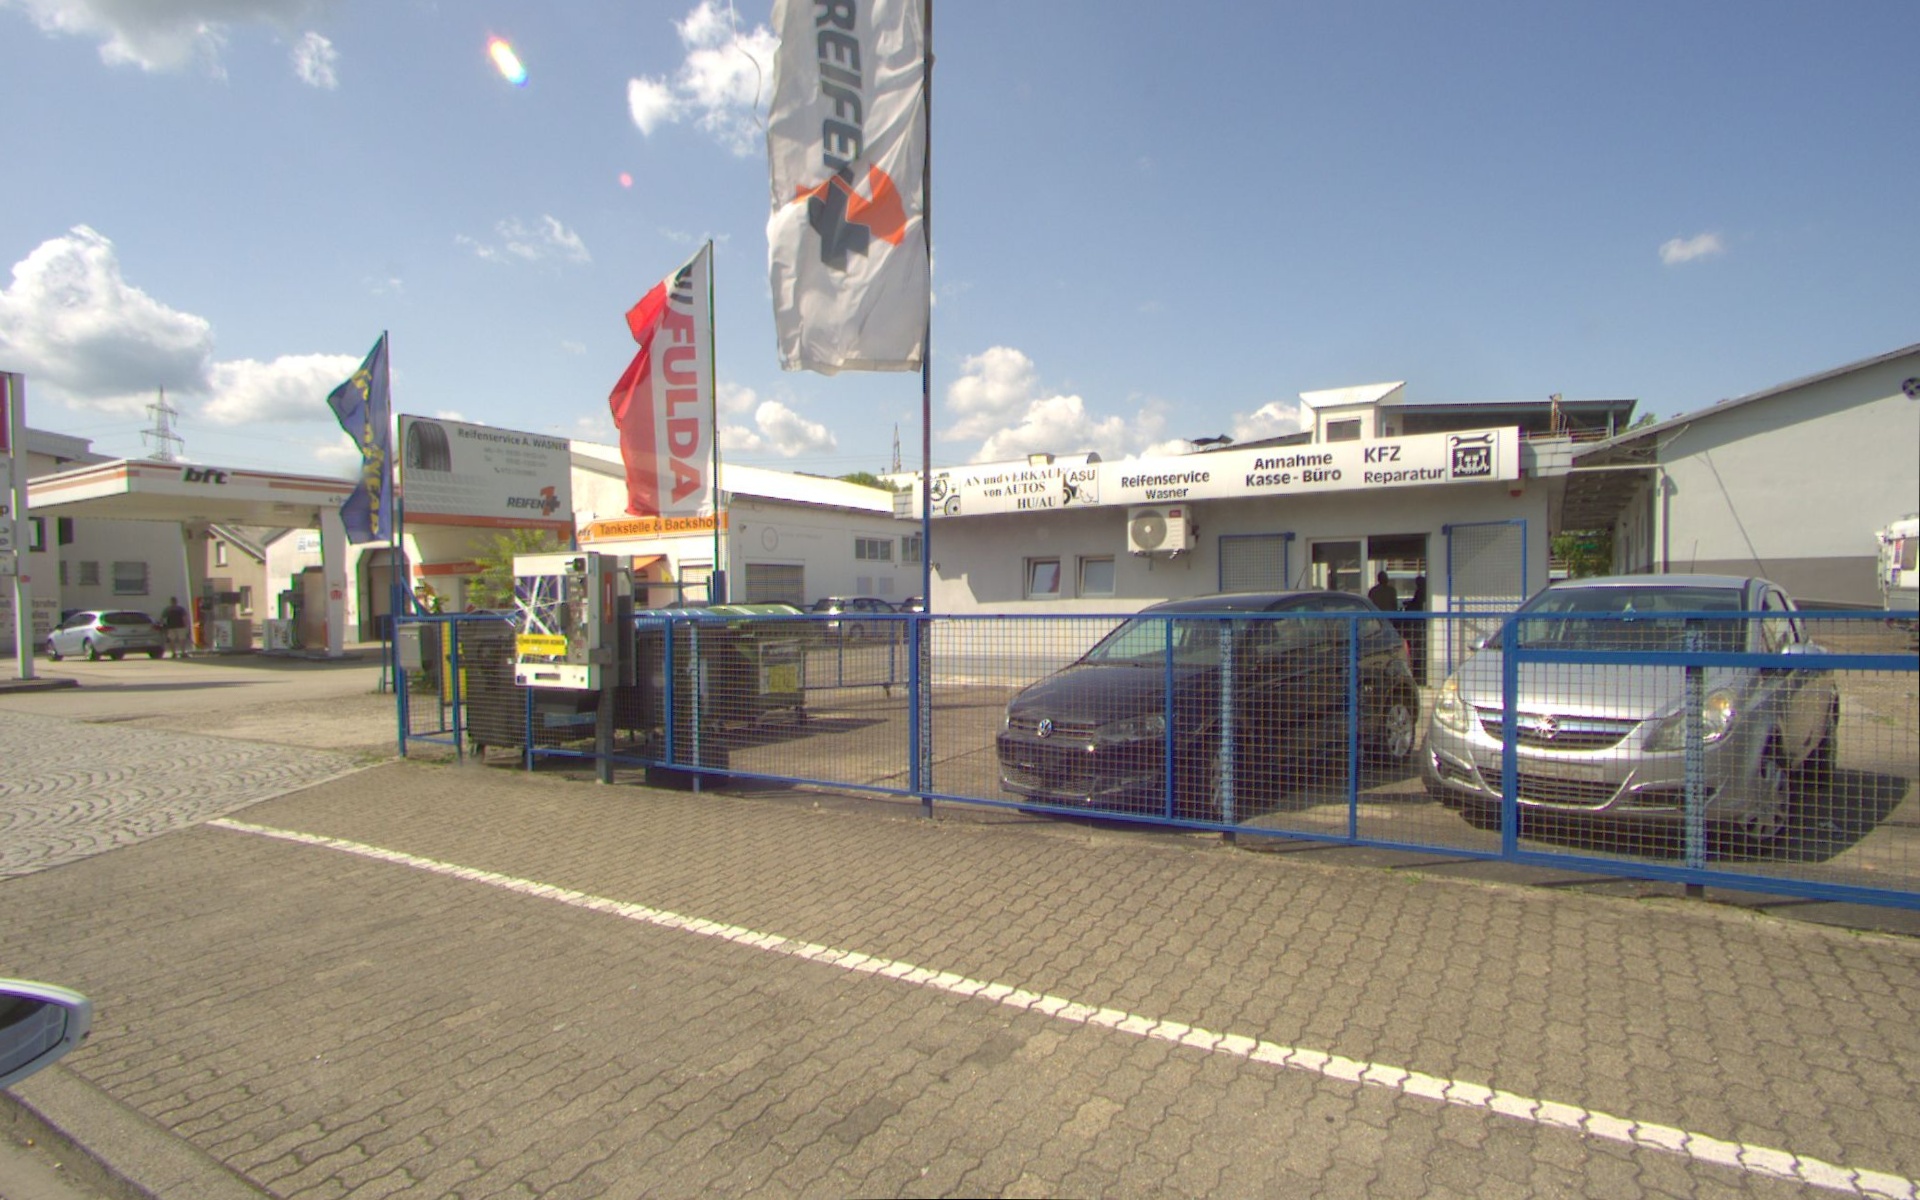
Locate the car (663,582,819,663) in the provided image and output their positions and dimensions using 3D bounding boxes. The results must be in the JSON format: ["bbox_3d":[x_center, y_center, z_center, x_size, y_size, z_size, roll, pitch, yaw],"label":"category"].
[{"bbox_3d":[-5.953,0.570,27.640,1.971,2.040,3.979,0,0,32],"label":"car"}]

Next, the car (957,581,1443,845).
[{"bbox_3d":[2.009,0.627,7.652,3.962,1.499,1.705,-1,1,-43],"label":"car"}]

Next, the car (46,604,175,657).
[{"bbox_3d":[-25.839,0.888,30.438,3.950,1.499,1.829,-1,1,31],"label":"car"}]

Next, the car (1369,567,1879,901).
[{"bbox_3d":[4.497,0.587,6.515,4.104,1.499,1.787,-1,0,-42],"label":"car"}]

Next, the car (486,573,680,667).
[{"bbox_3d":[-8.919,0.434,23.986,1.971,2.040,3.979,0,0,32],"label":"car"}]

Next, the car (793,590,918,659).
[{"bbox_3d":[-3.269,0.726,31.991,1.971,2.040,3.979,0,0,32],"label":"car"}]

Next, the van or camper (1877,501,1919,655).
[{"bbox_3d":[21.342,-0.459,19.325,4.983,3.002,2.276,0,1,31],"label":"van or camper"}]

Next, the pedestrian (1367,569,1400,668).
[{"bbox_3d":[7.446,0.325,17.593,0.480,1.710,0.499,0,1,30],"label":"pedestrian"}]

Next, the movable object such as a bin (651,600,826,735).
[{"bbox_3d":[-2.611,0.742,11.904,1.433,1.473,1.427,0,1,31],"label":"movable object such as a bin"}]

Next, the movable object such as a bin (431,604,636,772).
[{"bbox_3d":[-4.137,0.784,9.749,1.434,1.473,1.224,0,1,31],"label":"movable object such as a bin"}]

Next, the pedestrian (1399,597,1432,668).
[{"bbox_3d":[7.974,0.561,17.529,0.480,1.229,0.499,0,1,30],"label":"pedestrian"}]

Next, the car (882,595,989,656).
[{"bbox_3d":[-0.809,0.861,35.881,1.971,2.040,3.979,0,0,32],"label":"car"}]

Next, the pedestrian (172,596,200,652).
[{"bbox_3d":[-23.745,0.728,30.719,0.628,1.705,0.618,-1,1,-36],"label":"pedestrian"}]

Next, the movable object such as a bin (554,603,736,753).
[{"bbox_3d":[-3.377,0.775,10.789,1.434,1.473,1.224,0,1,31],"label":"movable object such as a bin"}]
